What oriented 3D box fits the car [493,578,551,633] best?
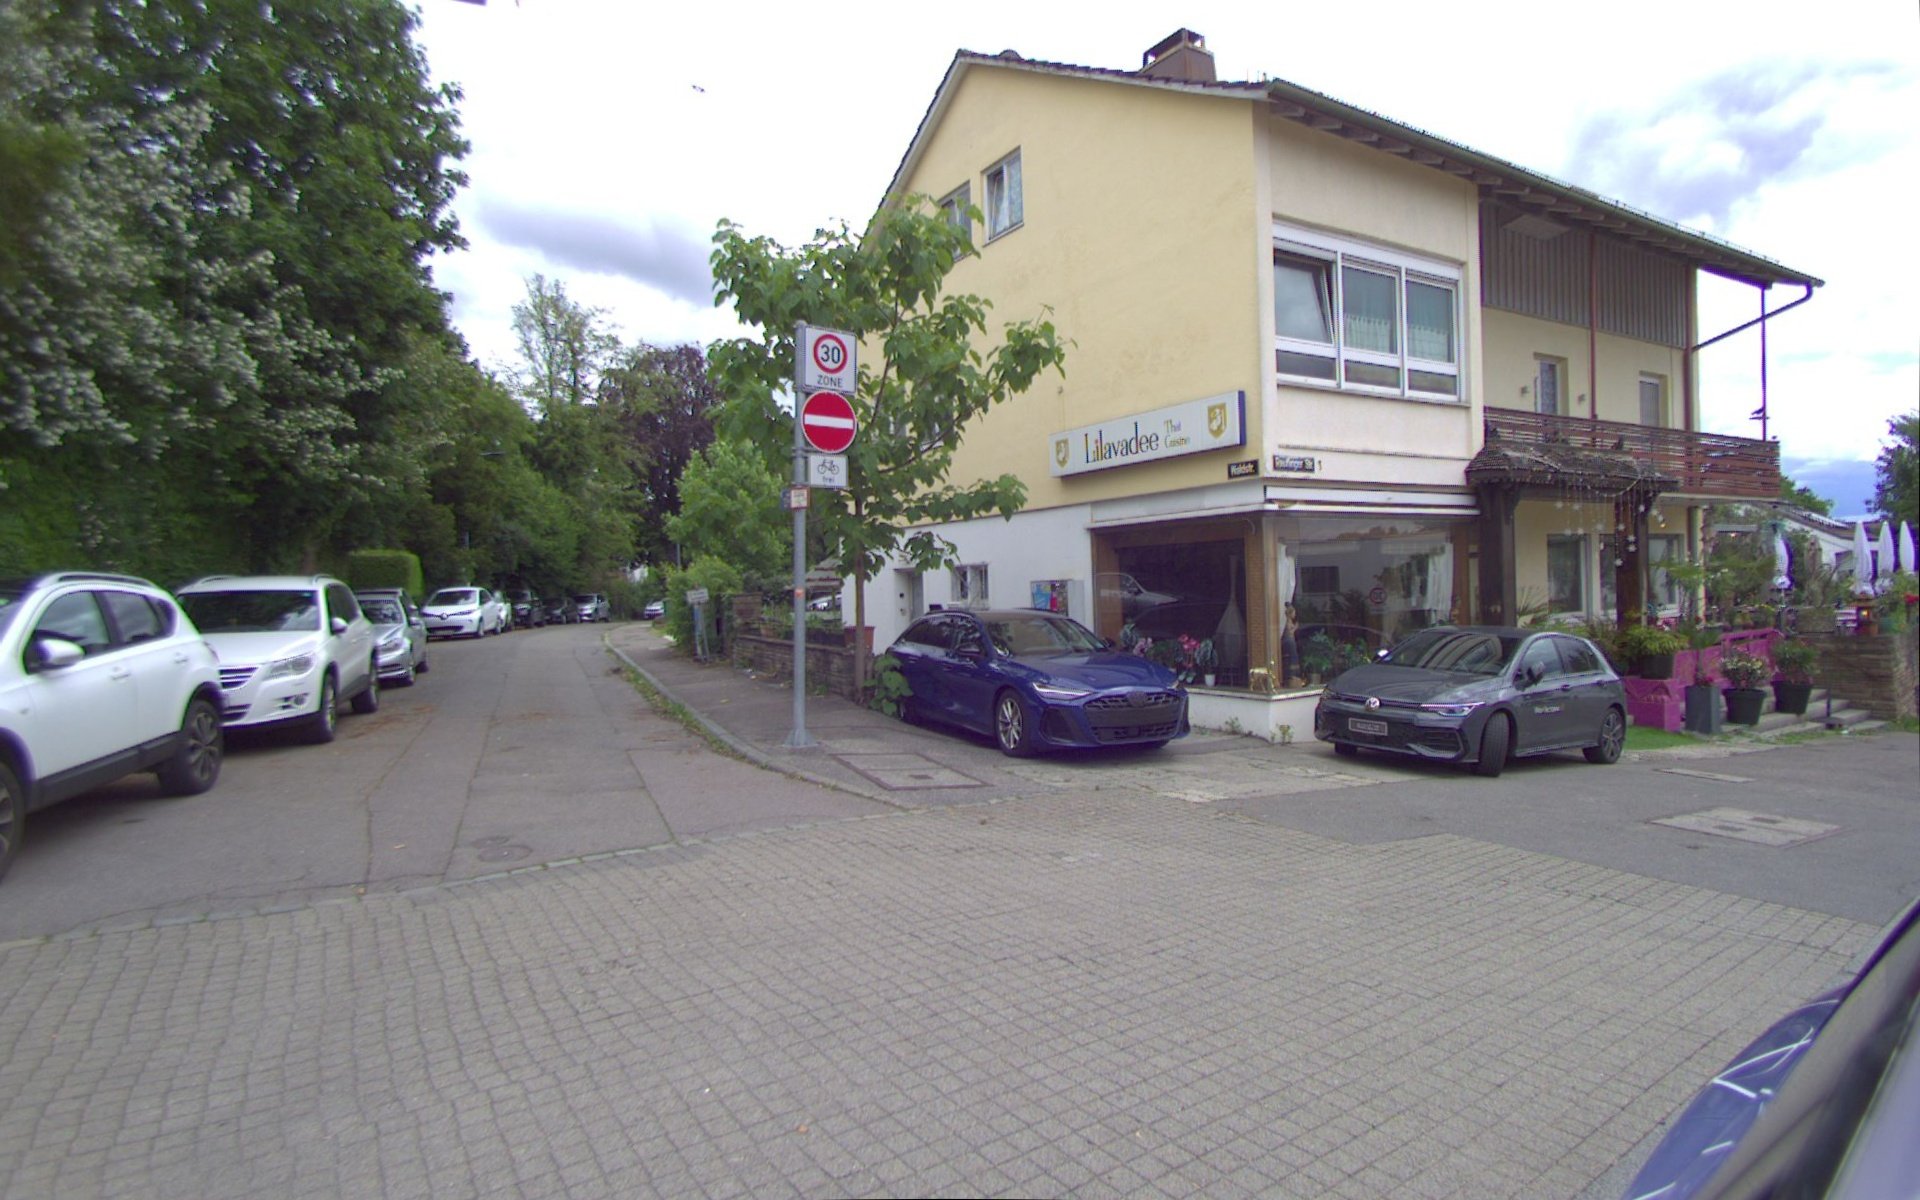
[{"bbox_3d":[-17.086,0.186,39.538,1.958,2.039,4.007,1,0,-23],"label":"car"}]

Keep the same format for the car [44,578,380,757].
[{"bbox_3d":[-7.511,0.560,10.670,1.958,1.485,4.081,1,0,-23],"label":"car"}]

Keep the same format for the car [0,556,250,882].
[{"bbox_3d":[-6.062,0.621,5.882,1.946,1.613,4.262,-2,0,-18],"label":"car"}]

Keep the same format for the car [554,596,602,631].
[{"bbox_3d":[-20.203,0.743,53.650,1.958,1.767,3.630,1,-2,-14],"label":"car"}]

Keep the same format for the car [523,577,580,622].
[{"bbox_3d":[-19.403,0.005,48.210,1.958,2.040,4.007,1,-1,-14],"label":"car"}]

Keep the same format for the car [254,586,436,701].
[{"bbox_3d":[-9.809,0.594,16.494,1.960,1.463,4.304,-5,2,-25],"label":"car"}]

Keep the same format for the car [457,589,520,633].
[{"bbox_3d":[-16.424,0.368,35.367,1.638,1.442,3.390,1,0,-20],"label":"car"}]

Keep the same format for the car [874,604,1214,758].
[{"bbox_3d":[0.679,0.739,11.509,1.799,1.343,4.518,1,0,-26],"label":"car"}]

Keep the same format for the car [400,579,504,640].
[{"bbox_3d":[-15.320,0.236,30.744,1.958,1.729,4.008,1,1,-14],"label":"car"}]

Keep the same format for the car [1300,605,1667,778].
[{"bbox_3d":[5.862,0.880,11.147,4.303,1.491,1.854,2,1,-36],"label":"car"}]

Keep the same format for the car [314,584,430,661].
[{"bbox_3d":[-12.638,0.447,21.919,1.829,1.550,2.926,1,0,-23],"label":"car"}]
